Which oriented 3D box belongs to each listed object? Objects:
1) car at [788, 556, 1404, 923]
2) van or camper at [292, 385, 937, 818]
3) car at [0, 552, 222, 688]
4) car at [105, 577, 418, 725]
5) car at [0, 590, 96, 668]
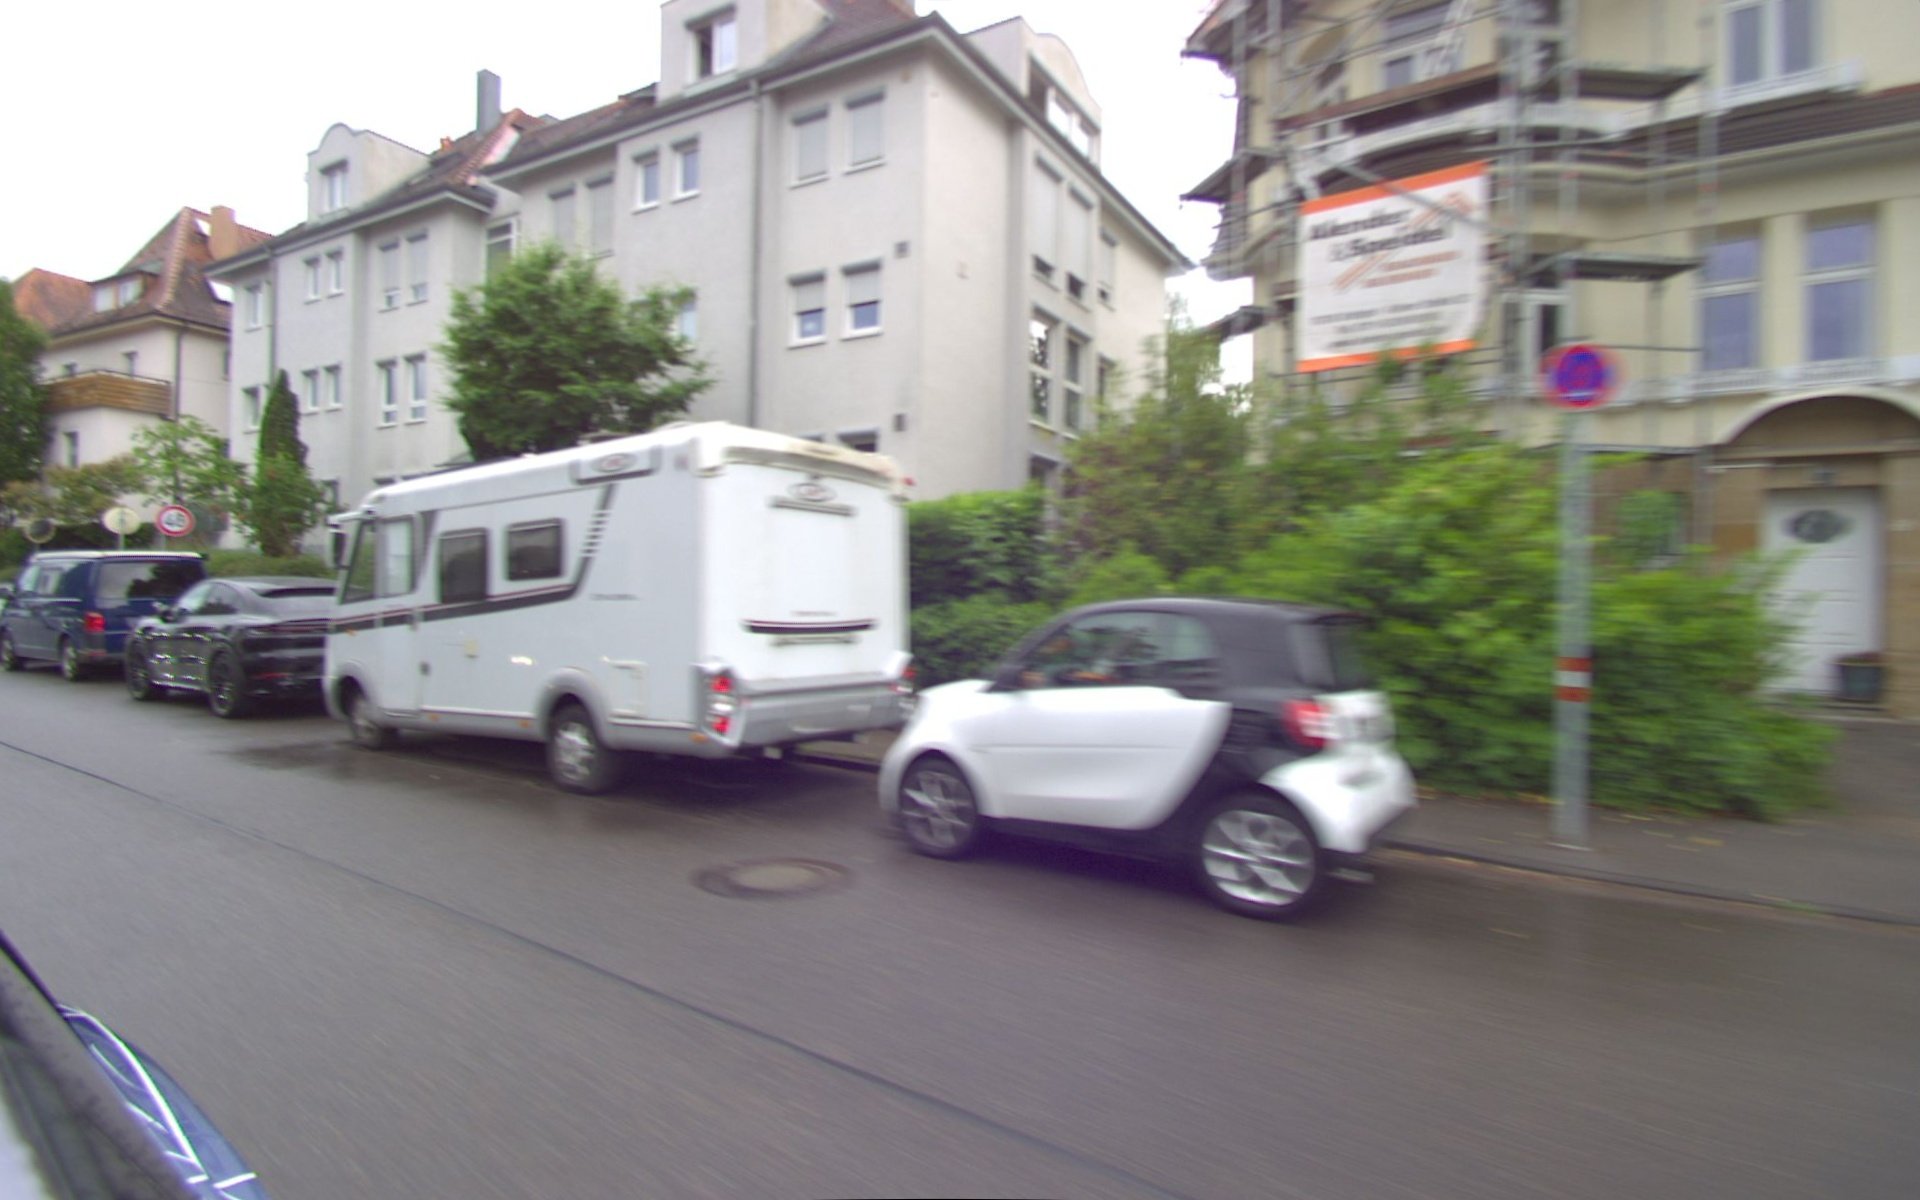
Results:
[{"bbox_3d":[0.723,0.616,6.054,3.310,1.607,1.581,0,-1,35],"label":"car"},{"bbox_3d":[-3.353,0.006,9.124,6.102,2.745,2.328,0,-1,35],"label":"van or camper"},{"bbox_3d":[-14.444,0.279,16.923,4.566,2.003,1.818,0,1,32],"label":"car"},{"bbox_3d":[-9.117,0.555,13.071,4.736,1.607,1.816,0,-1,35],"label":"car"},{"bbox_3d":[-19.346,0.519,20.329,4.493,1.382,1.664,1,1,30],"label":"car"}]
